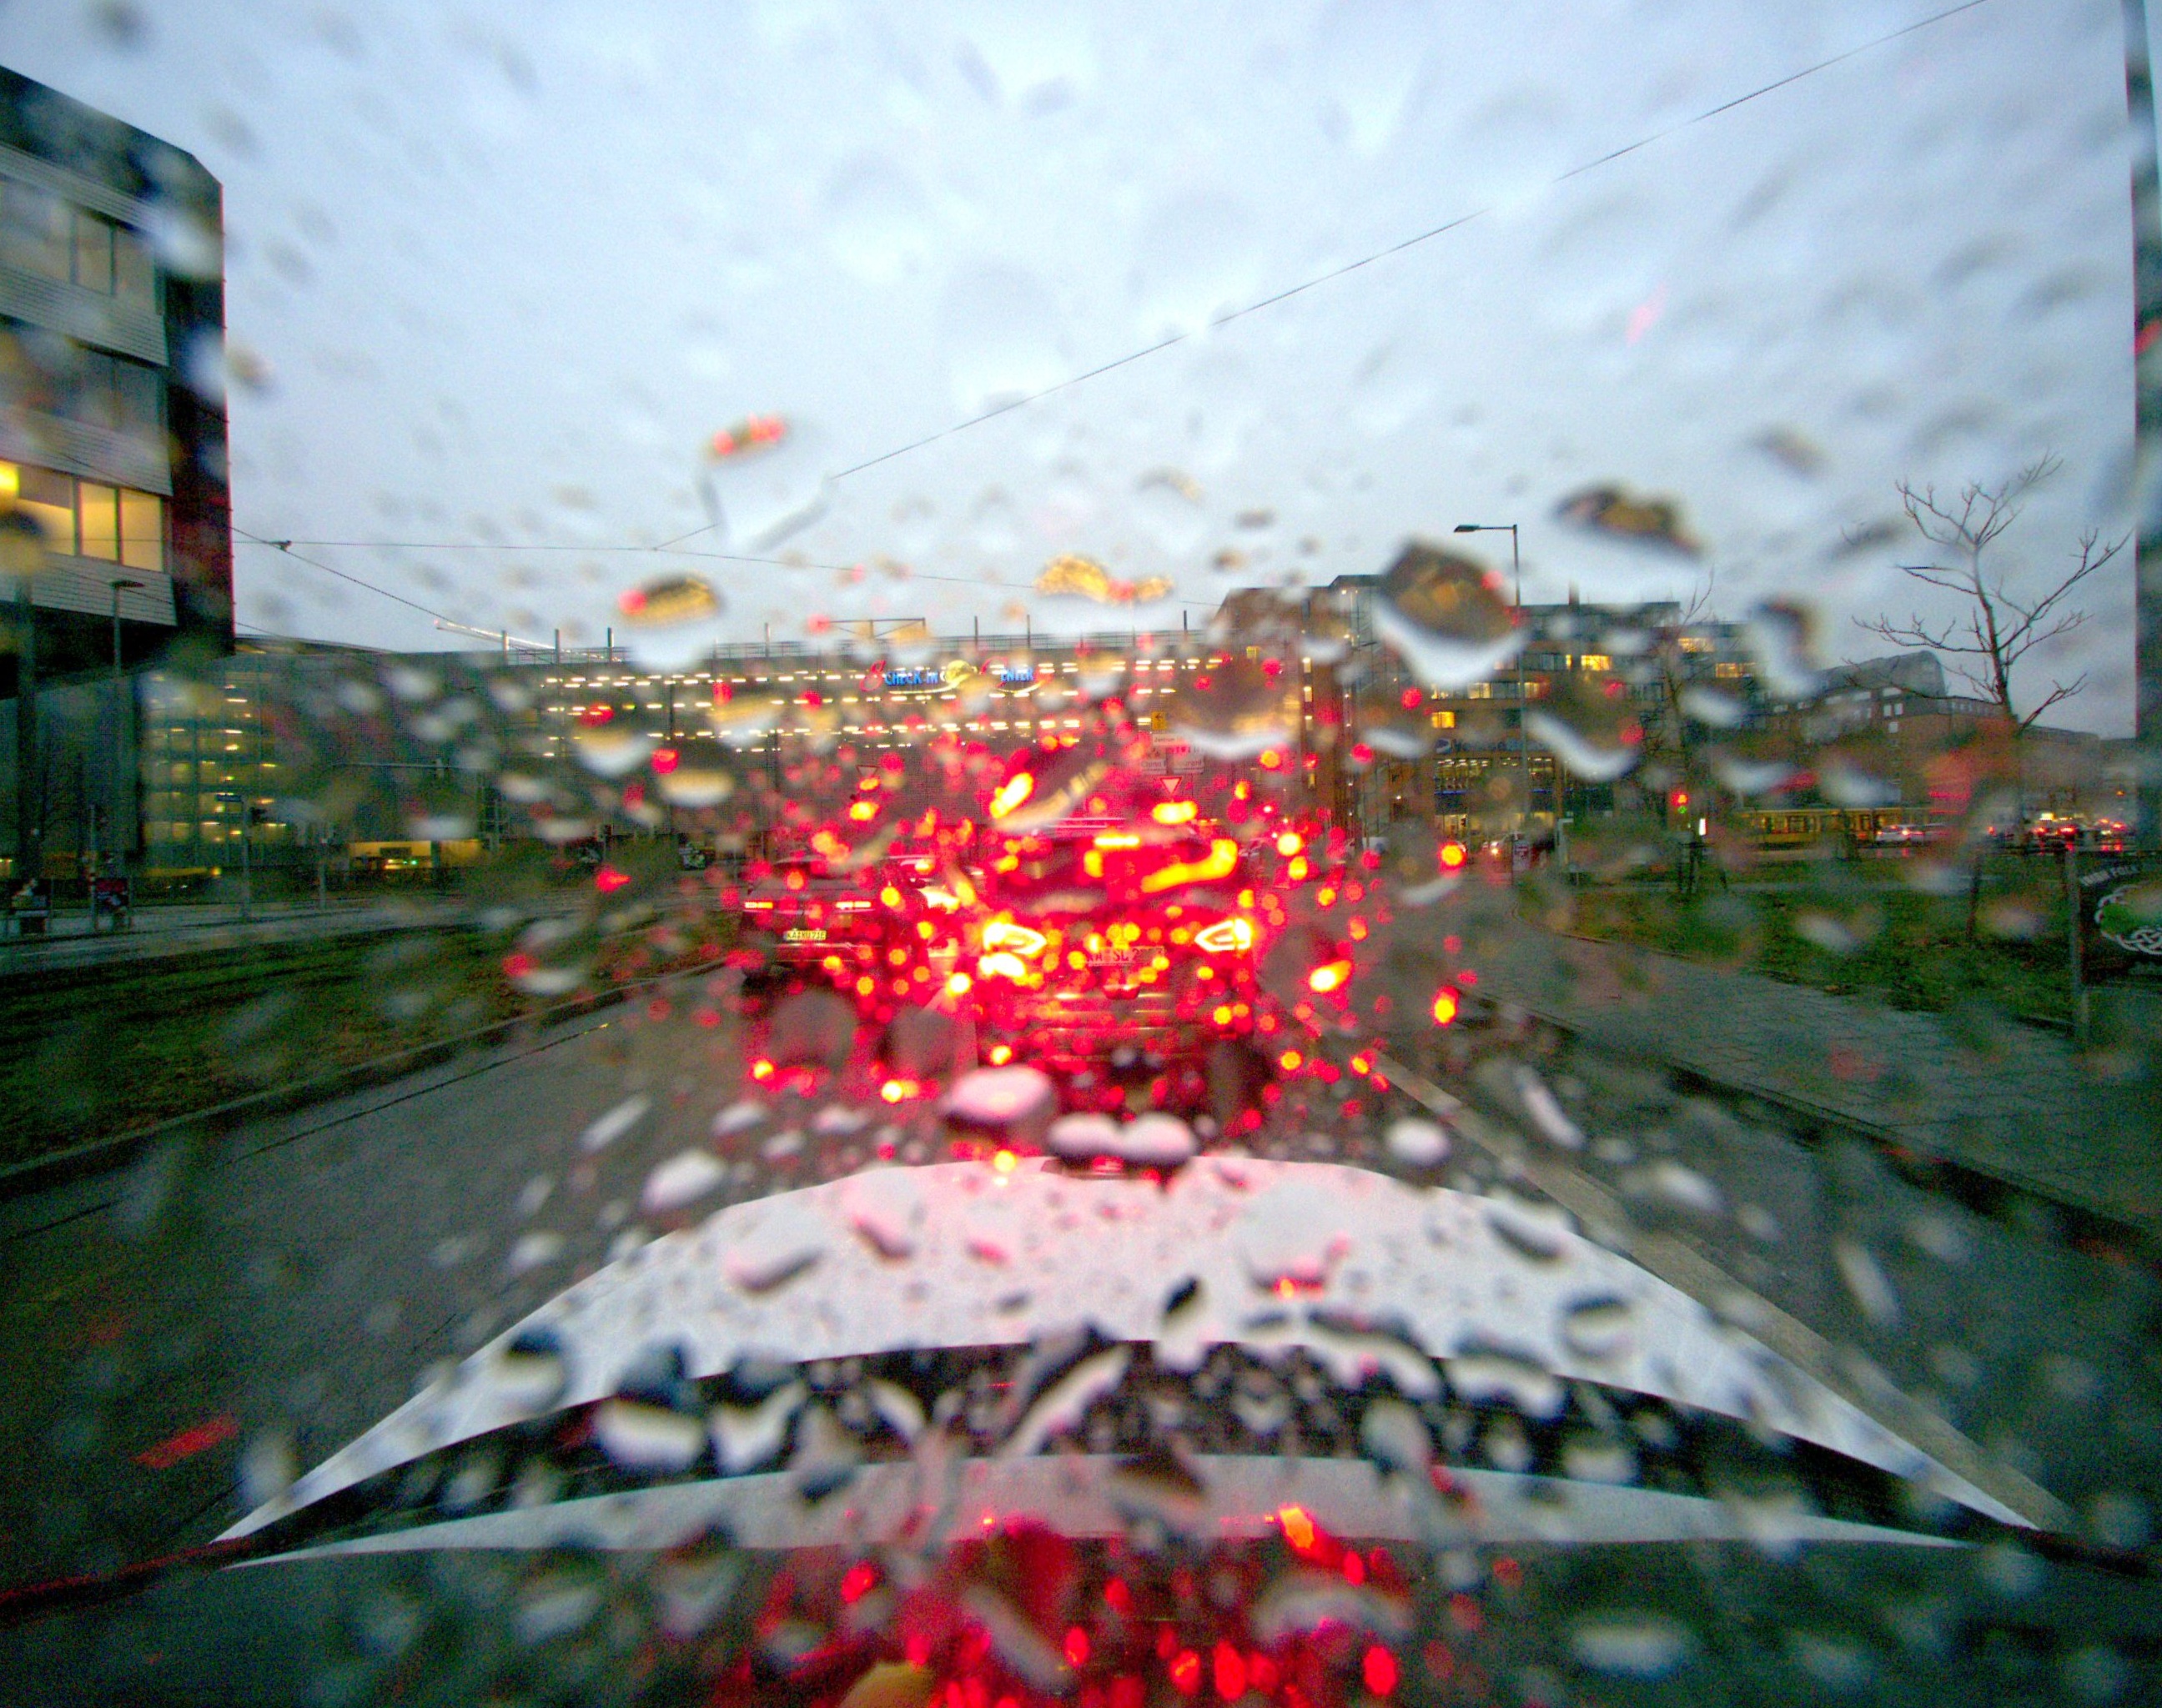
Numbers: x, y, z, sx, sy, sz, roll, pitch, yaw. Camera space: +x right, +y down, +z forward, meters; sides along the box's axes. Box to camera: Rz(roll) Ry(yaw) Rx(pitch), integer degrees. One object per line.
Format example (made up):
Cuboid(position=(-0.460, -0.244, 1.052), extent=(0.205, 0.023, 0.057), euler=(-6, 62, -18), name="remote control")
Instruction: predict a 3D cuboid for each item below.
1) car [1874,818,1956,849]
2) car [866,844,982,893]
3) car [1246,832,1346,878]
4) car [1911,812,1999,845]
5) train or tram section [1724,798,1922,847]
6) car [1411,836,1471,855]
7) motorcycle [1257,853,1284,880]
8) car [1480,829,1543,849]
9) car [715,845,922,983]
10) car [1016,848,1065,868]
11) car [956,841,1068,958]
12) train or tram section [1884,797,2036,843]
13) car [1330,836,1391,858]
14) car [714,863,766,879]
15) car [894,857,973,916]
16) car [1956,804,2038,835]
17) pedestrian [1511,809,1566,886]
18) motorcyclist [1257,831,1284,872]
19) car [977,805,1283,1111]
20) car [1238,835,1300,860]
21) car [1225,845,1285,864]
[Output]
Cuboid(position=(56.705, -1.384, 55.414), extent=(3.985, 2.013, 1.994), euler=(0, 0, -9), name="car")
Cuboid(position=(-6.587, 0.591, 34.637), extent=(4.665, 1.851, 1.827), euler=(-2, -1, -8), name="car")
Cuboid(position=(9.925, 0.041, 37.804), extent=(3.987, 1.874, 1.994), euler=(-3, 1, -10), name="car")
Cuboid(position=(55.438, -1.607, 51.686), extent=(4.362, 2.013, 1.990), euler=(0, 0, -15), name="car")
Cuboid(position=(56.841, -2.456, 62.268), extent=(16.626, 3.260, 2.326), euler=(-2, 0, -14), name="train or tram section")
Cuboid(position=(29.899, -0.677, 67.716), extent=(4.209, 1.390, 1.796), euler=(-2, 0, -6), name="car")
Cuboid(position=(7.350, 0.470, 31.618), extent=(0.848, 0.972, 1.585), euler=(-2, 0, 7), name="motorcycle")
Cuboid(position=(36.317, -1.269, 68.764), extent=(4.425, 1.534, 1.796), euler=(-2, 0, -6), name="car")
Cuboid(position=(-3.507, 0.713, 11.678), extent=(1.748, 1.574, 3.997), euler=(-2, 0, -2), name="car")
Cuboid(position=(-3.393, 0.345, 68.053), extent=(3.978, 1.618, 1.736), euler=(1, 0, -4), name="car")
Cuboid(position=(-1.089, 0.669, 13.822), extent=(1.632, 1.697, 3.667), euler=(-1, 0, -3), name="car")
Cuboid(position=(70.995, -2.767, 65.736), extent=(12.974, 3.260, 2.326), euler=(-2, 0, -14), name="train or tram section")
Cuboid(position=(22.823, -0.565, 66.573), extent=(4.413, 1.595, 1.796), euler=(-2, 0, -6), name="car")
Cuboid(position=(-29.285, 1.444, 70.068), extent=(3.751, 1.165, 1.678), euler=(-2, 0, -4), name="car")
Cuboid(position=(-3.483, 0.711, 19.764), extent=(1.538, 1.251, 4.059), euler=(-1, 0, -6), name="car")
Cuboid(position=(64.379, -2.412, 57.259), extent=(4.945, 2.013, 1.989), euler=(0, 0, -17), name="car")
Cuboid(position=(11.718, -0.165, 20.905), extent=(1.159, 1.924, 0.904), euler=(1, 0, 25), name="pedestrian")
Cuboid(position=(7.339, -0.086, 31.635), extent=(0.863, 1.534, 1.110), euler=(-2, 0, 7), name="motorcyclist")
Cuboid(position=(0.273, 0.589, 6.774), extent=(1.730, 1.738, 4.246), euler=(1, 0, 0), name="car")
Cuboid(position=(15.986, -0.537, 69.417), extent=(4.831, 2.000, 1.797), euler=(-2, 0, -5), name="car")
Cuboid(position=(14.103, 0.013, 66.044), extent=(4.413, 1.390, 1.796), euler=(-2, 0, -6), name="car")
